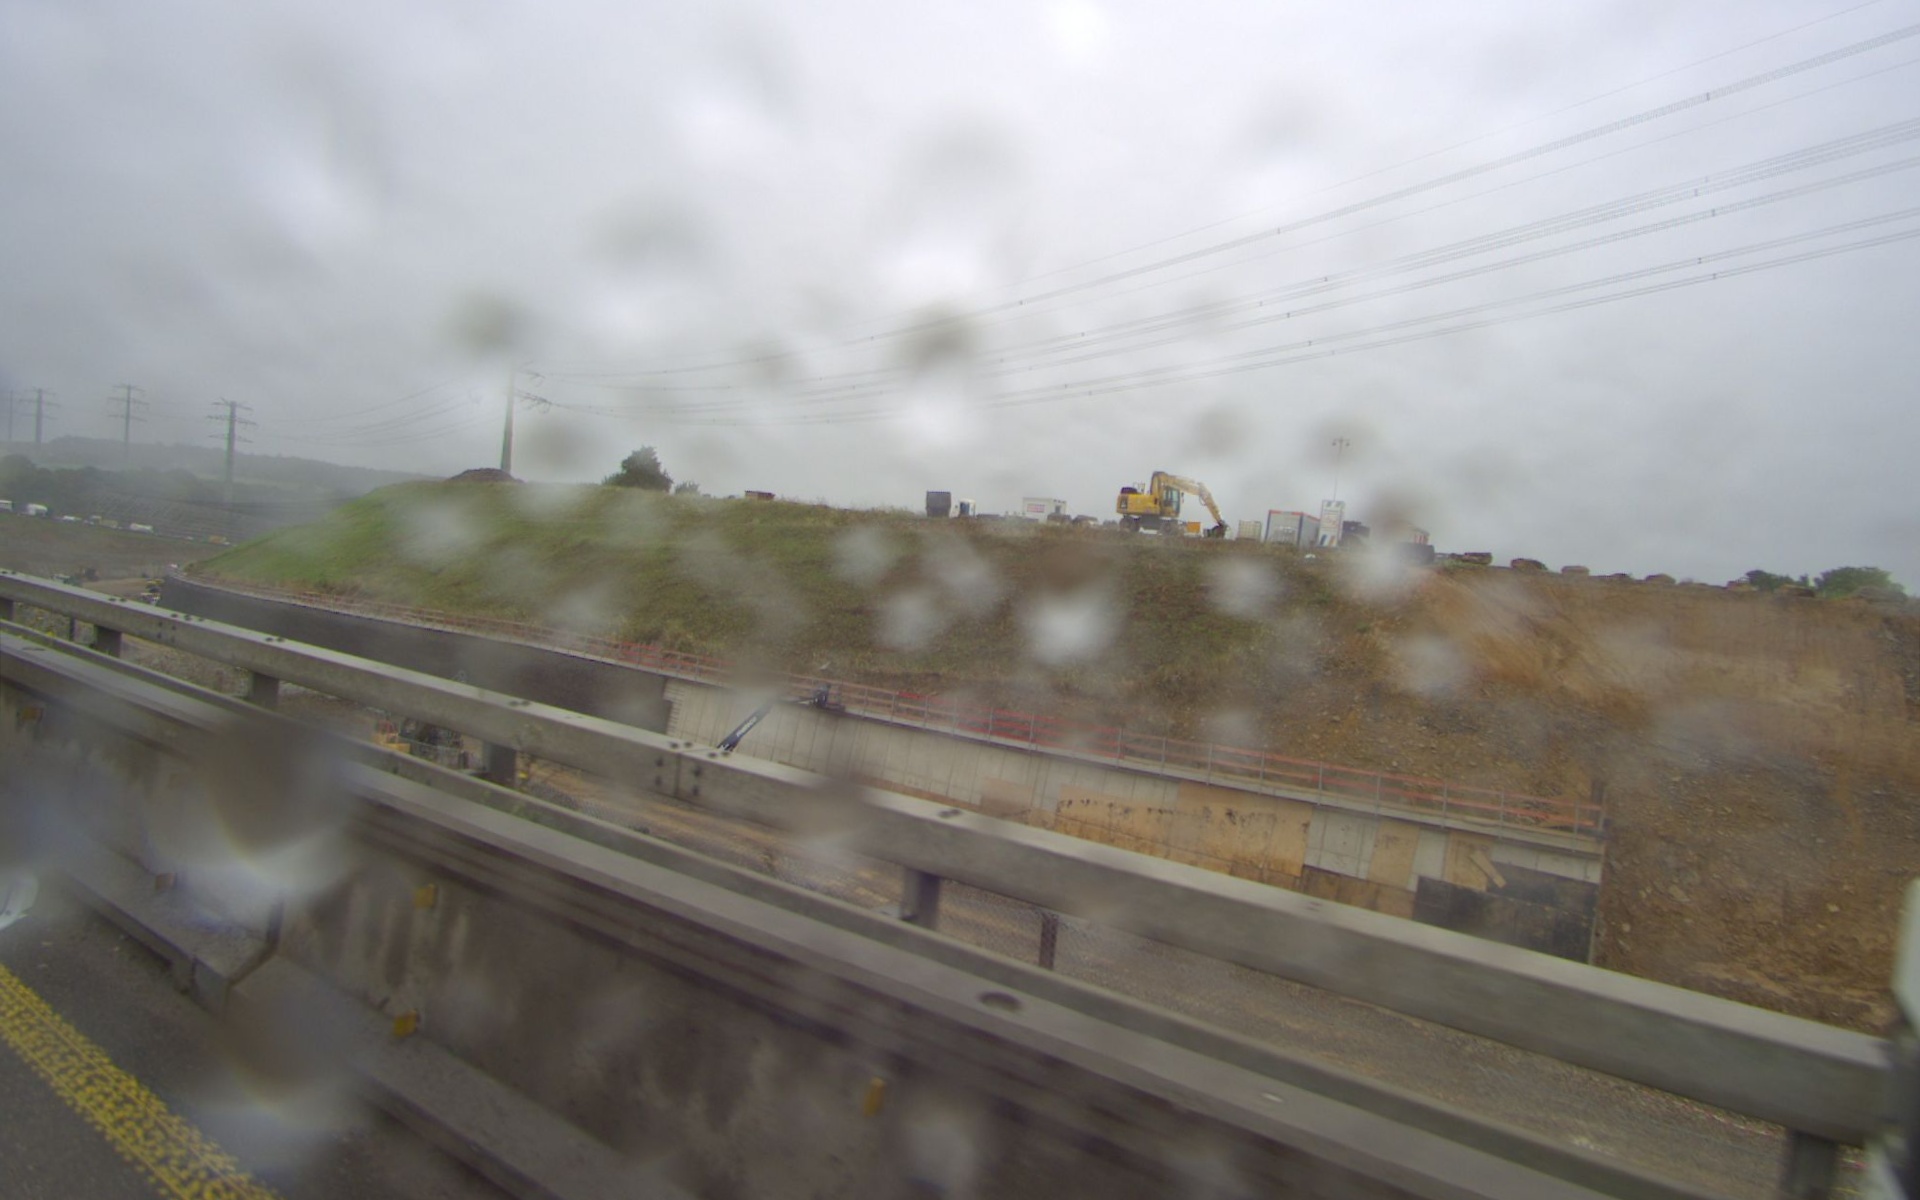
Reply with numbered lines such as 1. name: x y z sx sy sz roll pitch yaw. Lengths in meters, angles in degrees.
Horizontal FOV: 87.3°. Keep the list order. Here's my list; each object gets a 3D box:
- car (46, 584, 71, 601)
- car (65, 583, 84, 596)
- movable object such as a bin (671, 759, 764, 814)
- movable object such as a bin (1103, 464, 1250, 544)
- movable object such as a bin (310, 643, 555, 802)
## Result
1. car: -138.500 -1.172 154.483 3.946 2.037 2.362 6 -2 43
2. car: -148.694 -1.777 168.973 3.949 1.837 1.989 5 -1 45
3. movable object such as a bin: -11.410 8.730 47.351 3.203 1.932 2.523 6 -3 31
4. movable object such as a bin: 13.441 -6.046 62.909 8.055 4.259 3.097 7 1 38
5. movable object such as a bin: -24.741 5.454 46.816 11.911 5.732 4.898 3 -4 37
